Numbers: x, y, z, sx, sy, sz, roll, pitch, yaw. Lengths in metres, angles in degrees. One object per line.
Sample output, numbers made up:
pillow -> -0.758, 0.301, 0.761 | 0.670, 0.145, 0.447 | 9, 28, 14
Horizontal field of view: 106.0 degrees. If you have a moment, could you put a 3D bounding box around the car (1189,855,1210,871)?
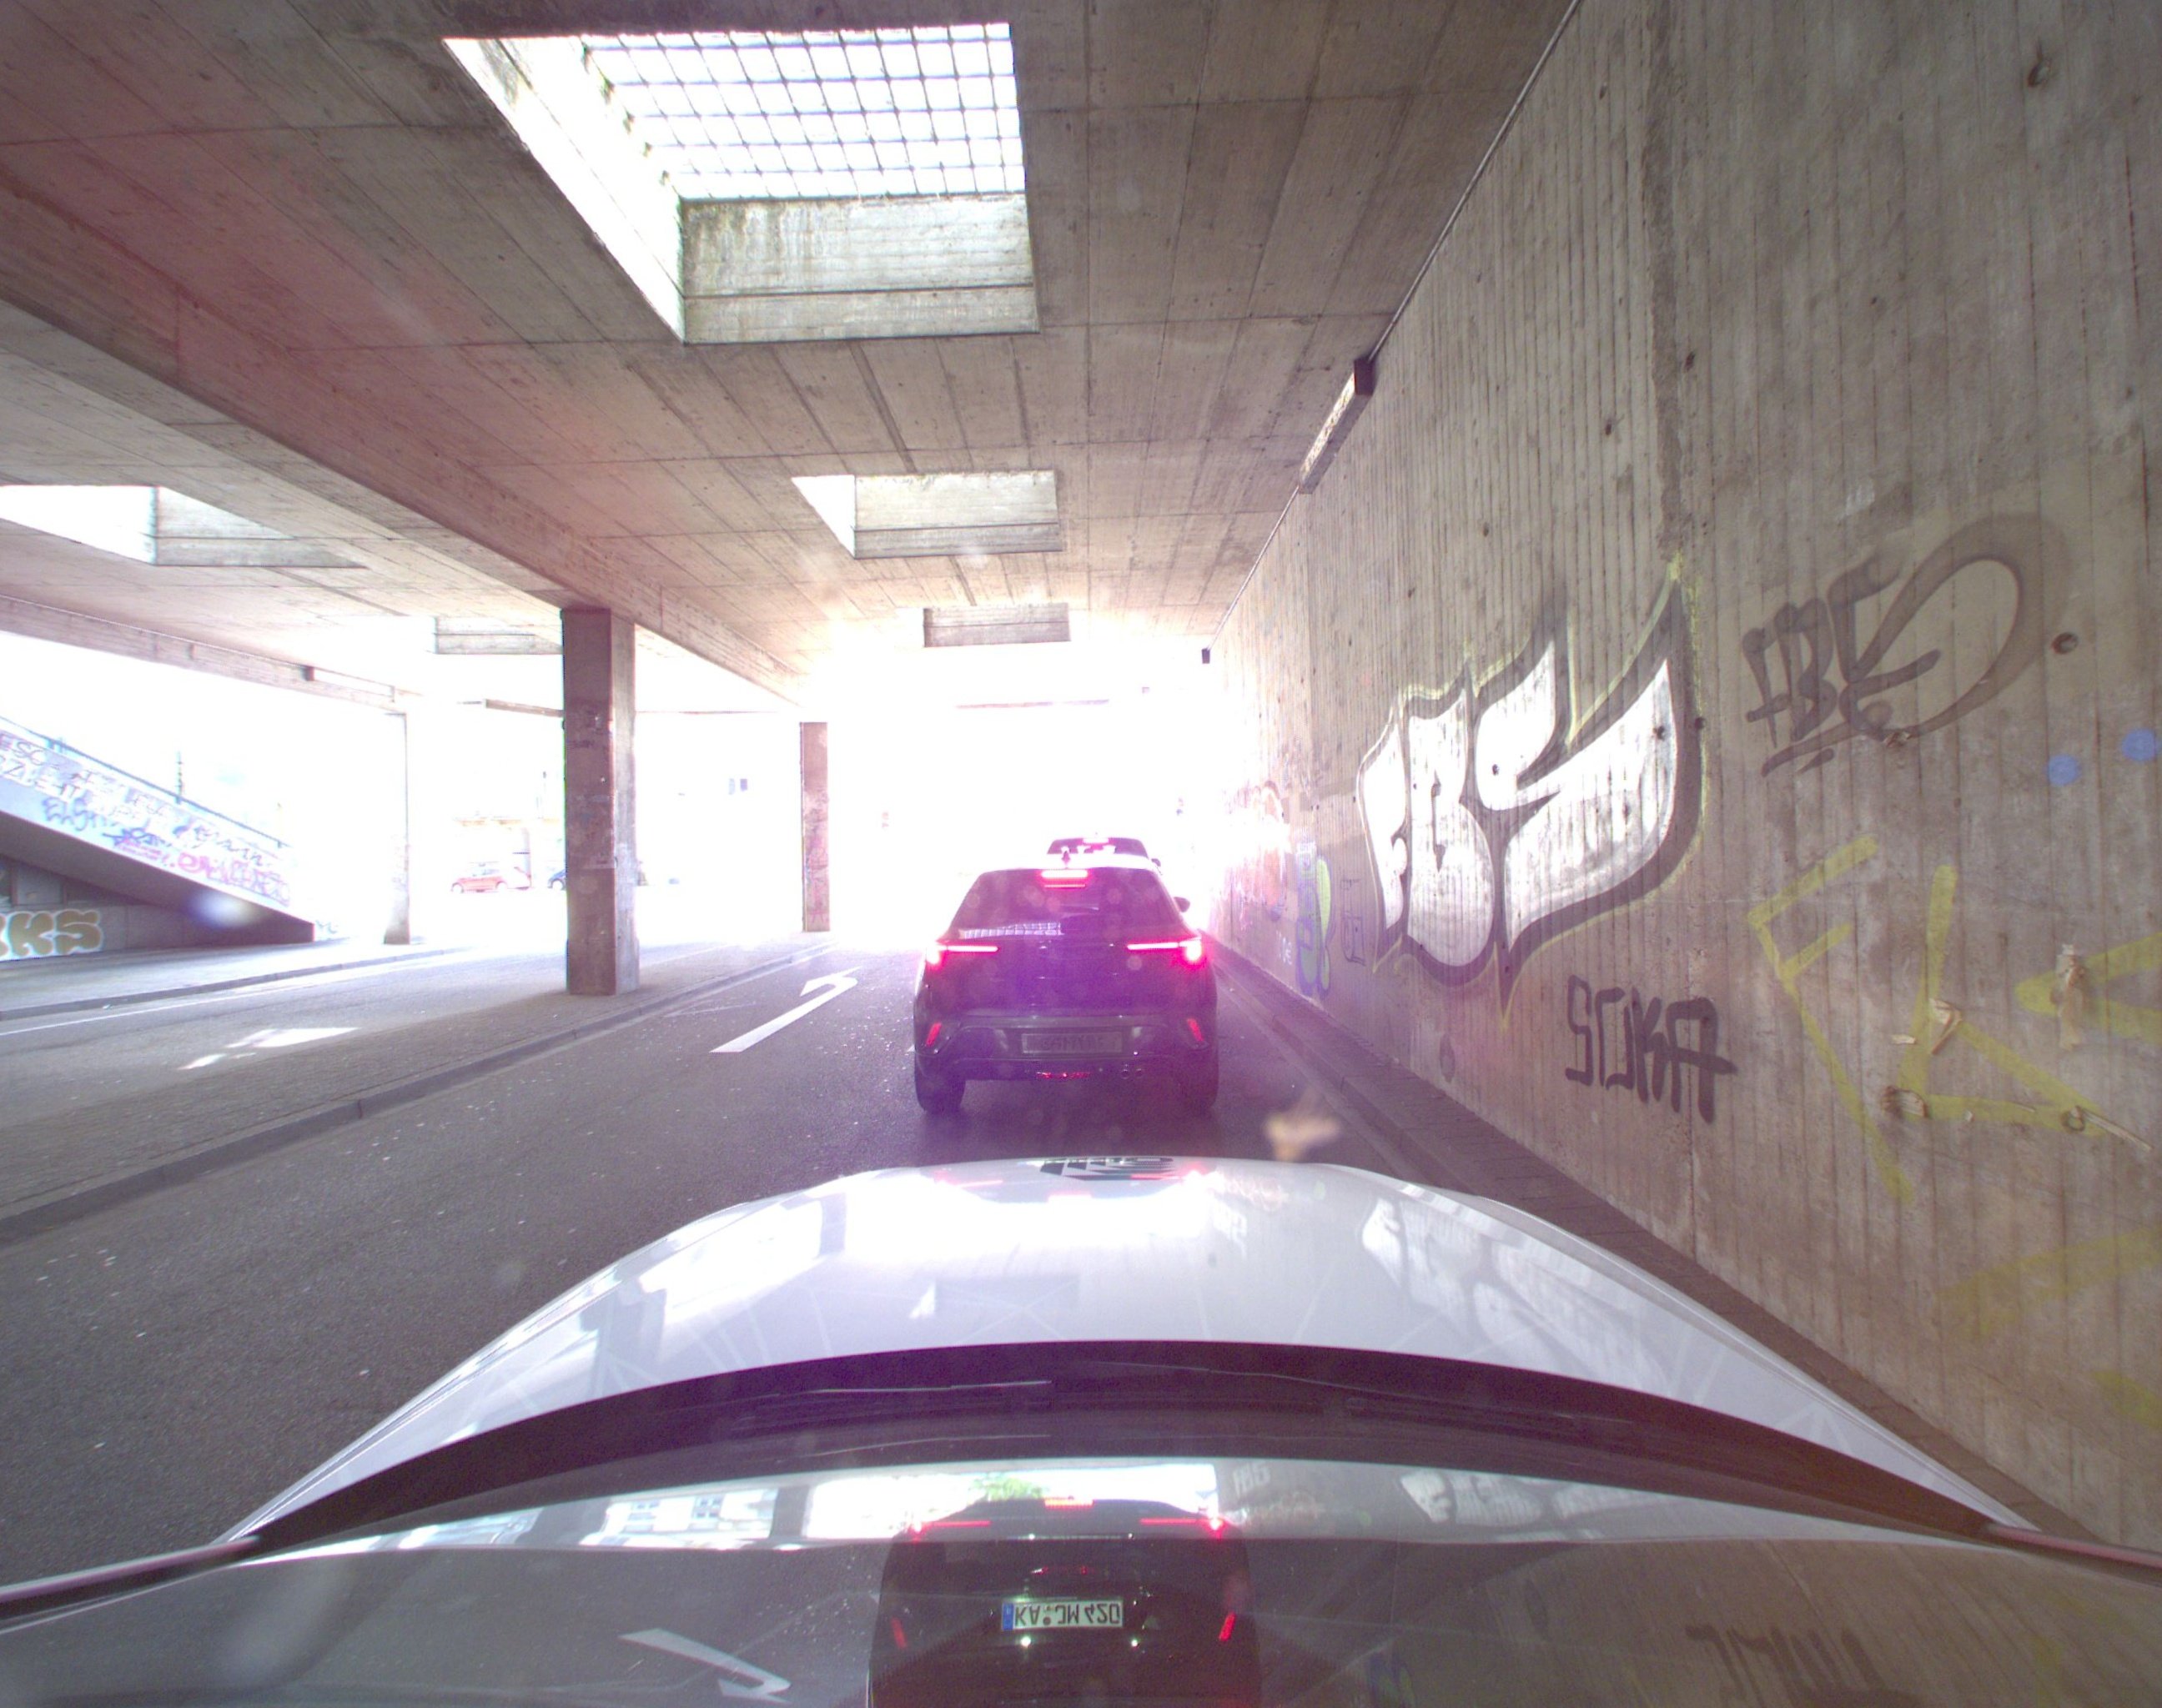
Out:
car -> 12.704, 0.917, 87.511 | 1.984, 1.641, 4.600 | -2, 0, 5

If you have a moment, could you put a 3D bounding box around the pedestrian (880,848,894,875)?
pedestrian -> -12.335, 0.492, 51.804 | 0.618, 1.705, 0.725 | 0, -1, 12

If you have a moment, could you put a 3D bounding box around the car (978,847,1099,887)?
car -> -1.815, 0.541, 34.716 | 4.743, 1.534, 1.983 | -1, 0, -26

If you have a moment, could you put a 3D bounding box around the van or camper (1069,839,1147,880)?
van or camper -> 1.465, 0.284, 43.429 | 3.854, 2.013, 2.005 | -1, 0, 9

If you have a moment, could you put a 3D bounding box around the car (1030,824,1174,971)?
car -> 0.333, 0.546, 12.188 | 1.779, 1.833, 3.962 | -1, 0, 2

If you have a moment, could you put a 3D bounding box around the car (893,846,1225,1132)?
car -> -0.042, 0.706, 6.287 | 1.746, 1.498, 4.002 | 0, 0, 2

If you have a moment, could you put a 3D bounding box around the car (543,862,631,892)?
car -> -27.393, 1.285, 45.262 | 3.742, 1.508, 1.752 | -2, 0, 0

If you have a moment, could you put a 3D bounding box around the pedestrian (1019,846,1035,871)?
pedestrian -> -3.399, 0.265, 51.635 | 0.729, 1.585, 0.894 | 0, -1, 18

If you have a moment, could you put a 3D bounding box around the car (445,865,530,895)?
car -> -32.846, 1.434, 45.120 | 3.519, 1.506, 1.563 | -1, 0, 2

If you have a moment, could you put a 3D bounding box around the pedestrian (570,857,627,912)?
pedestrian -> -16.009, 0.997, 27.046 | 1.103, 1.737, 1.146 | -1, 0, 15
